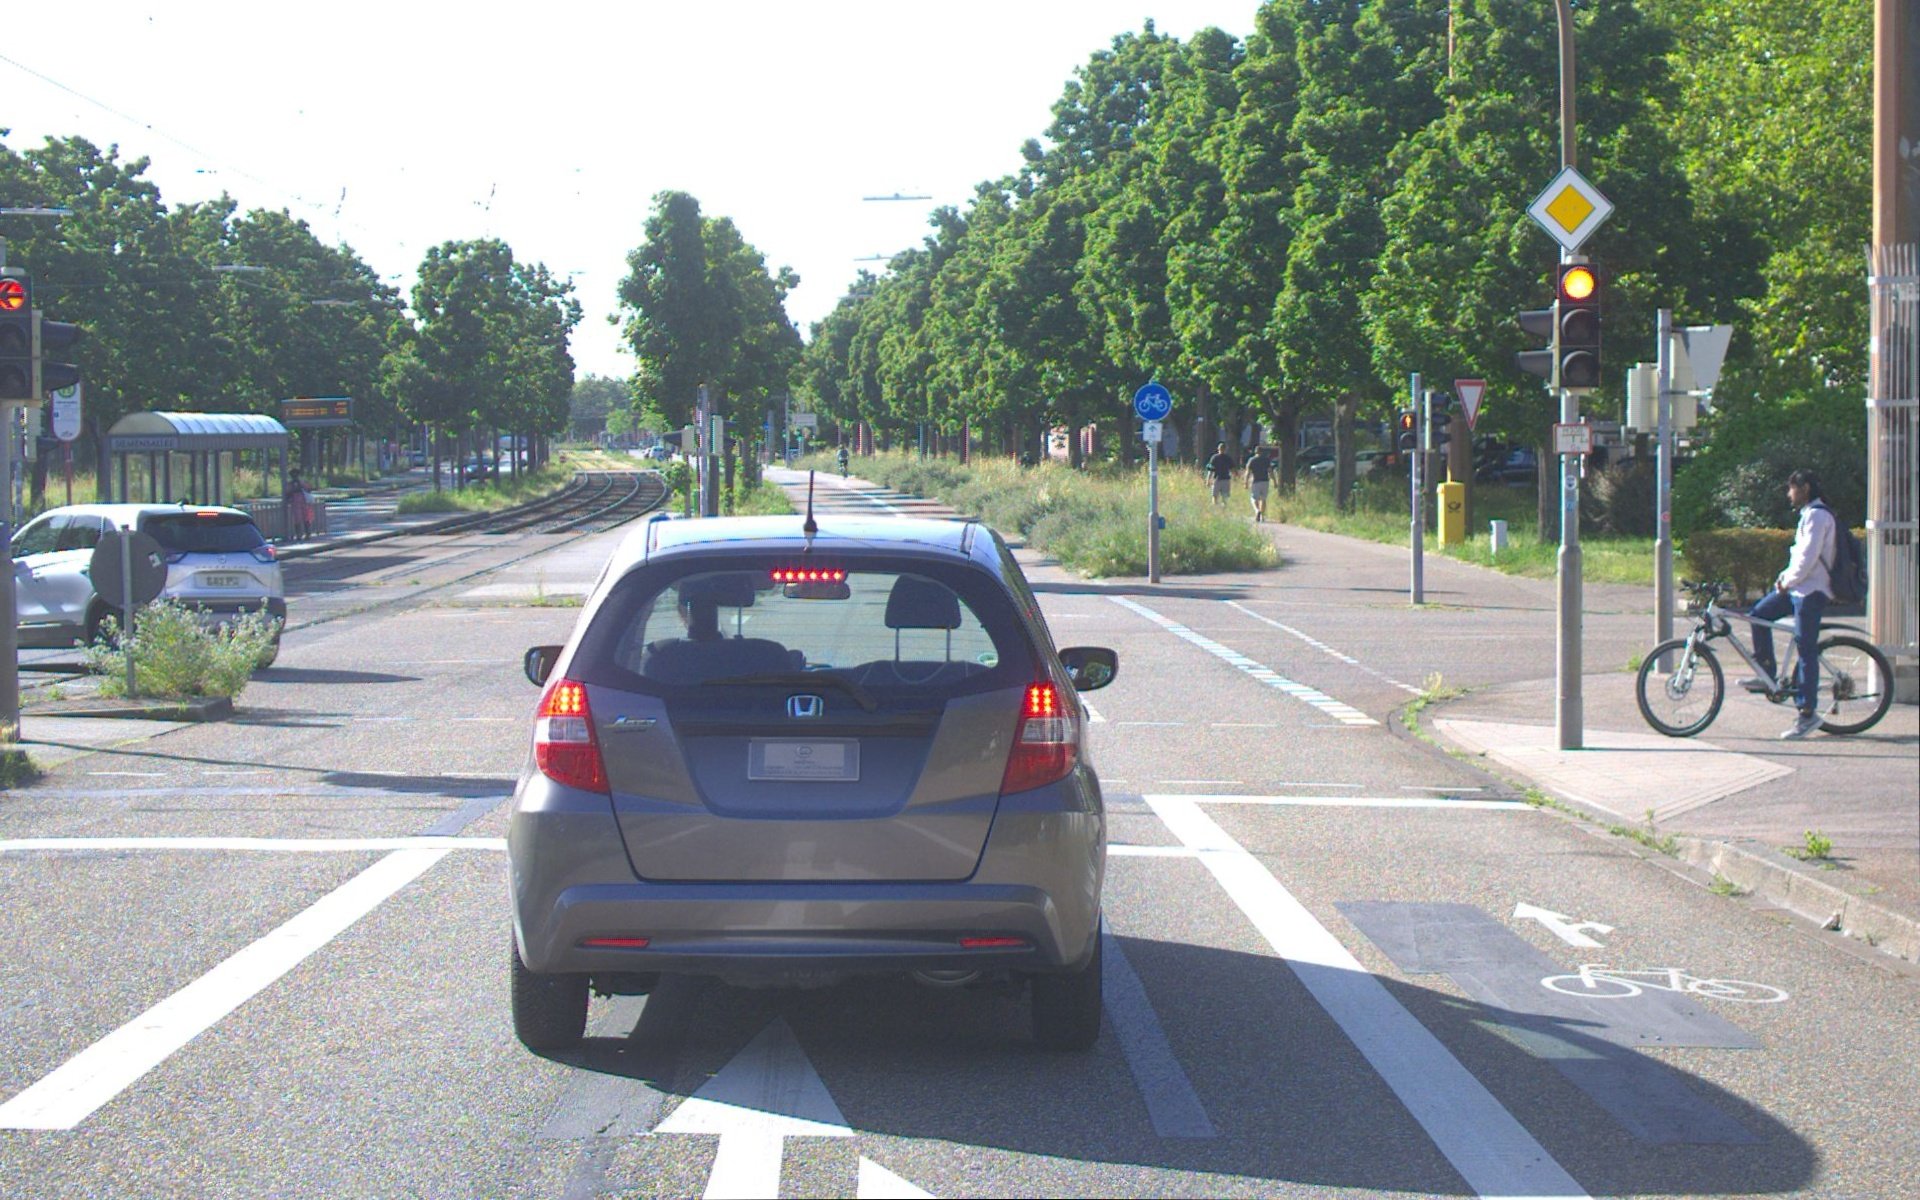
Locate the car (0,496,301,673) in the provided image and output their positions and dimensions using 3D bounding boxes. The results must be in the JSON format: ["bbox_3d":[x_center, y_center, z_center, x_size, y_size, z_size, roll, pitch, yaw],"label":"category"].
[{"bbox_3d":[-8.262,-0.202,33.287,1.851,1.601,4.253,-1,2,-40],"label":"car"}]

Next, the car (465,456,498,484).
[{"bbox_3d":[-30.758,-8.343,220.975,1.766,1.732,4.001,0,1,-3],"label":"car"}]

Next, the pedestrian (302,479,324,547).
[{"bbox_3d":[-15.762,-2.122,83.738,0.502,1.670,0.388,0,2,-12],"label":"pedestrian"}]

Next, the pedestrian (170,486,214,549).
[{"bbox_3d":[-15.447,-1.662,69.138,0.721,1.241,0.711,-1,2,-2],"label":"pedestrian"}]

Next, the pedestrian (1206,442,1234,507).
[{"bbox_3d":[6.410,-3.093,84.872,0.567,1.591,0.666,1,1,-4],"label":"pedestrian"}]

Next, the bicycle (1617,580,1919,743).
[{"bbox_3d":[5.374,0.403,22.901,1.921,0.994,0.764,-2,1,11],"label":"bicycle"}]

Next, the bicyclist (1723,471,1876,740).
[{"bbox_3d":[5.573,0.030,22.854,0.910,1.739,0.764,-1,1,10],"label":"bicyclist"}]

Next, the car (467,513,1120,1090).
[{"bbox_3d":[-0.435,0.482,11.059,1.707,1.503,4.000,1,1,0],"label":"car"}]

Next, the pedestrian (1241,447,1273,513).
[{"bbox_3d":[7.318,-2.955,84.792,0.678,1.604,0.721,1,1,-3],"label":"pedestrian"}]
